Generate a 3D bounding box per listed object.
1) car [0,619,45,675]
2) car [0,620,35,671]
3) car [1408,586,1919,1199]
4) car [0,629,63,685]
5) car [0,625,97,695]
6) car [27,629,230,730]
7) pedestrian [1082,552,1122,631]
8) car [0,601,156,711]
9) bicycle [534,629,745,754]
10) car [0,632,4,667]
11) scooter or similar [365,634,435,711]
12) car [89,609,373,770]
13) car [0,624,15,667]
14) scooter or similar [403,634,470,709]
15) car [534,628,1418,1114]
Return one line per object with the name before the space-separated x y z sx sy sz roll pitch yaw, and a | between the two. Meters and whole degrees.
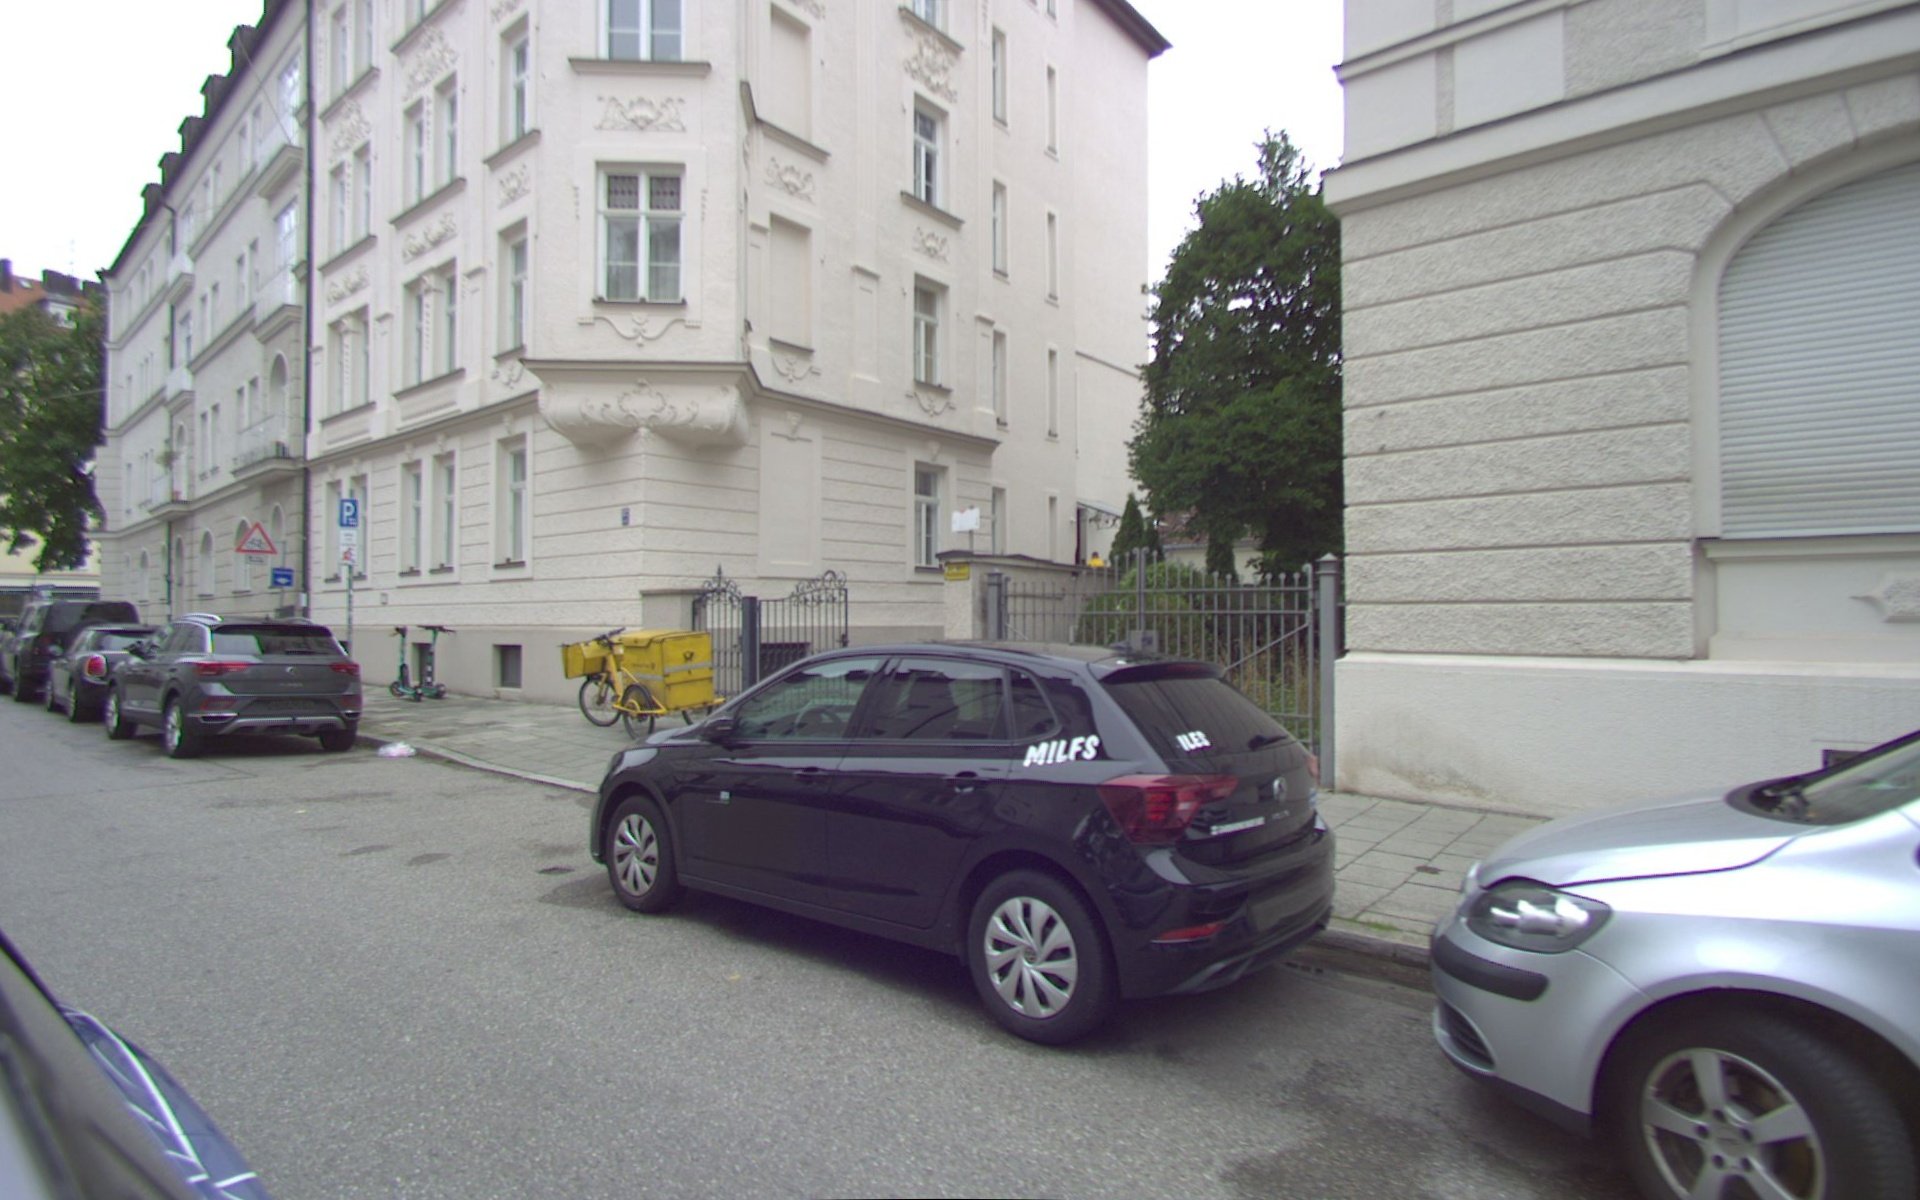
car | -29.596 1.433 31.090 4.434 1.611 1.855 -2 -2 43
car | -33.775 1.572 35.217 4.210 1.690 1.817 -2 -2 40
car | 3.394 0.773 2.083 4.250 1.553 1.766 -1 -4 37
car | -25.733 1.504 27.505 4.092 1.417 1.636 -2 -3 43
car | -21.877 1.381 23.982 3.529 1.525 1.600 -2 -3 40
car | -13.362 1.199 16.183 4.242 1.405 1.817 -2 -4 41
pedestrian | 3.540 -0.199 25.169 0.816 1.922 0.835 -1 -2 21
car | -17.474 1.066 19.754 4.759 1.909 1.817 -2 -4 40
bicycle | -3.916 1.021 12.211 2.715 1.251 1.140 -1 2 41
car | -40.749 2.036 41.549 4.475 1.404 1.664 -2 -3 40
scooter or similar | -9.388 1.186 16.938 1.547 1.209 0.526 -1 -2 41
car | -8.906 0.977 12.247 4.116 1.631 1.710 -1 -4 39
car | -37.425 1.709 38.375 3.945 1.580 1.678 -1 -1 38
scooter or similar | -9.002 1.198 17.389 1.547 1.231 0.488 -1 -2 41
car | -0.211 0.884 5.083 4.275 1.426 1.774 -1 -4 40
